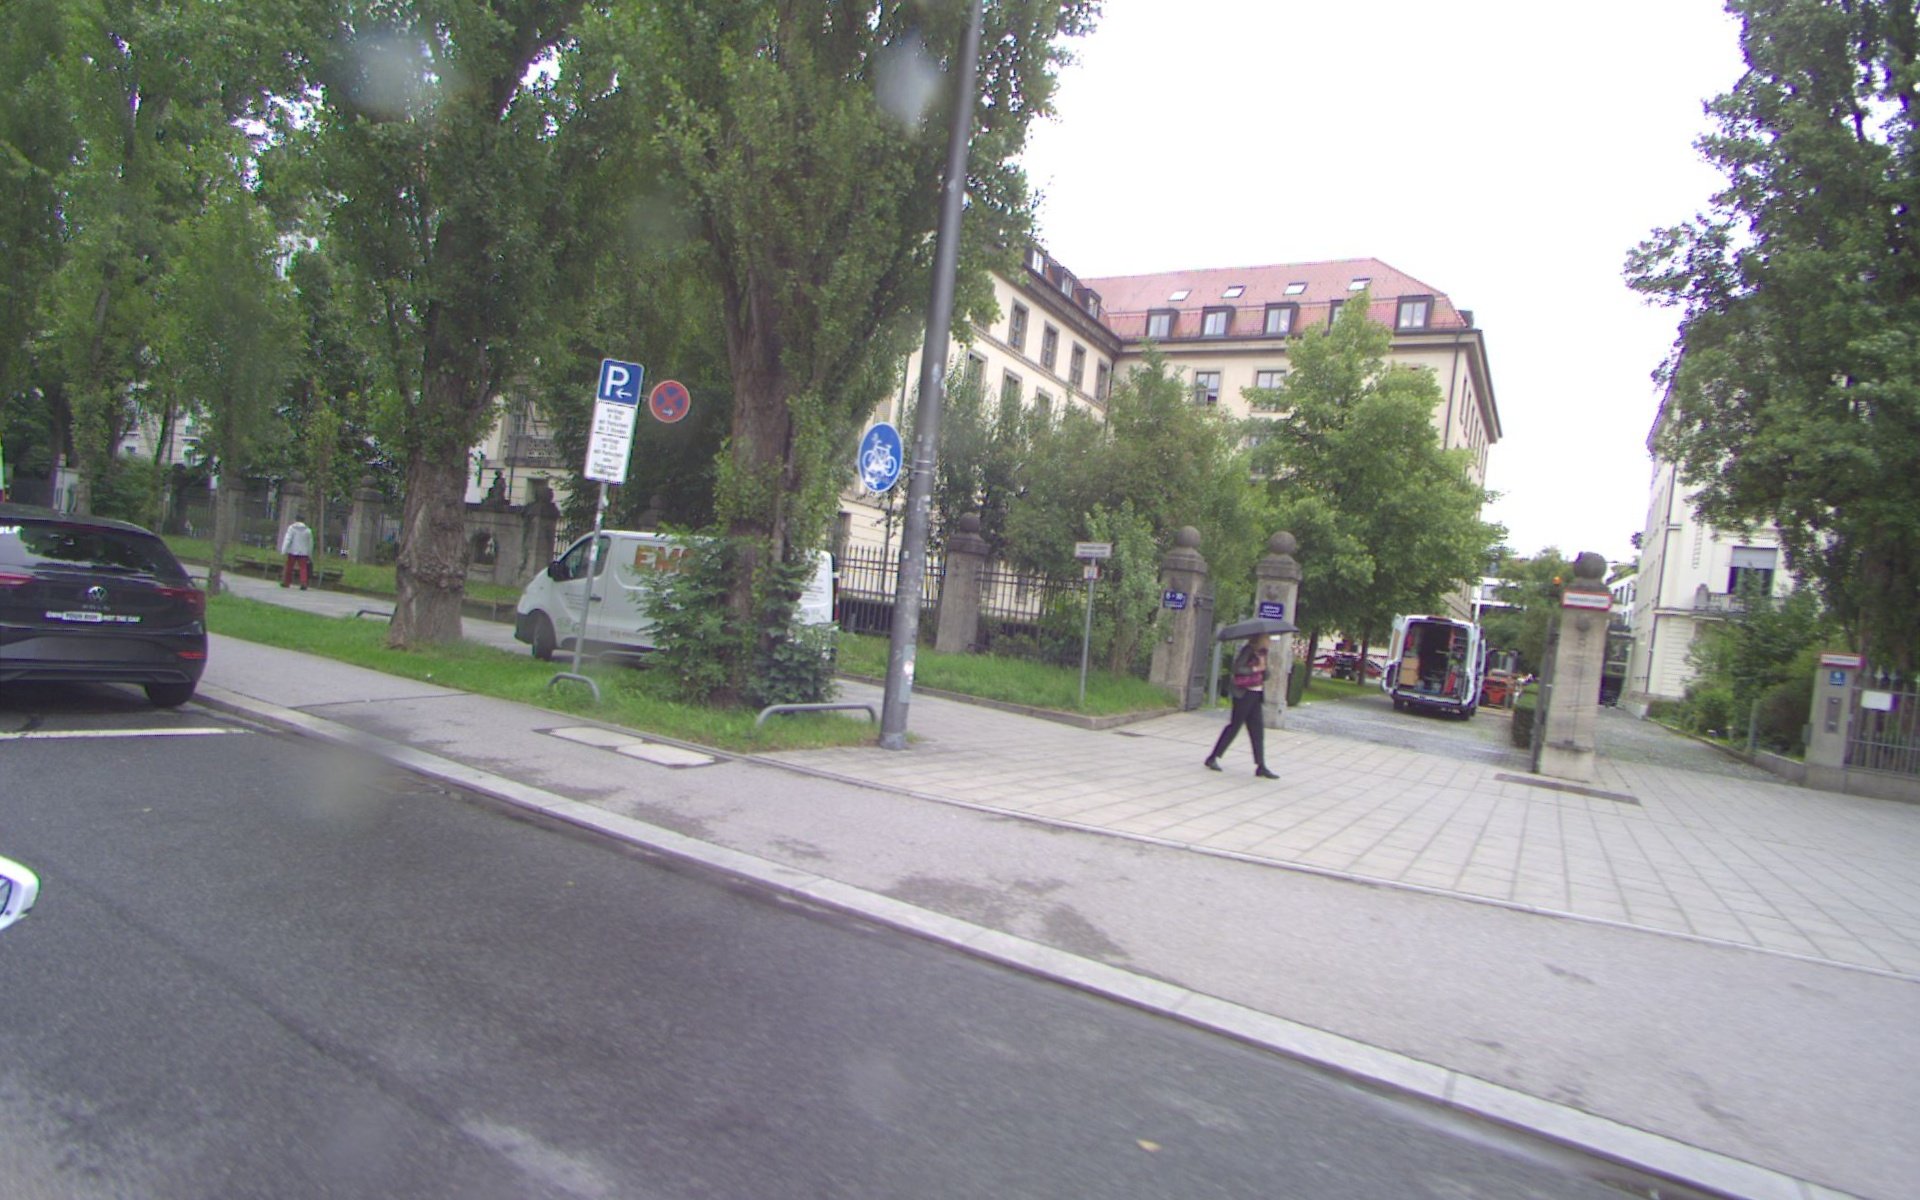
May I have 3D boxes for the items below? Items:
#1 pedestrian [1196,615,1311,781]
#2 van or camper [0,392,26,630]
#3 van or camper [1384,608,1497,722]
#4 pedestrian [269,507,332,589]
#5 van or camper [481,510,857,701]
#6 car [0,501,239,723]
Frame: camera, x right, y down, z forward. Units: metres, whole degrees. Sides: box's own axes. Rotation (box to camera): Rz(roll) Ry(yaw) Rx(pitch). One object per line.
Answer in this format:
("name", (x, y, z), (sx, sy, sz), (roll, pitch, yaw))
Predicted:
("pedestrian", (3.177, 1.039, 10.879), (0.827, 1.629, 0.772), (7, 1, 34))
("van or camper", (-13.606, -1.338, 11.798), (6.311, 2.572, 2.141), (7, 0, 32))
("van or camper", (13.963, 1.871, 29.041), (2.212, 2.740, 5.215), (7, 0, 31))
("pedestrian", (-15.615, -1.223, 23.817), (0.880, 1.790, 0.796), (7, 1, 31))
("van or camper", (-4.097, 0.032, 13.897), (4.953, 1.957, 1.979), (7, -1, 31))
("car", (-7.763, -0.067, 8.061), (3.932, 1.437, 1.679), (7, 0, 30))
